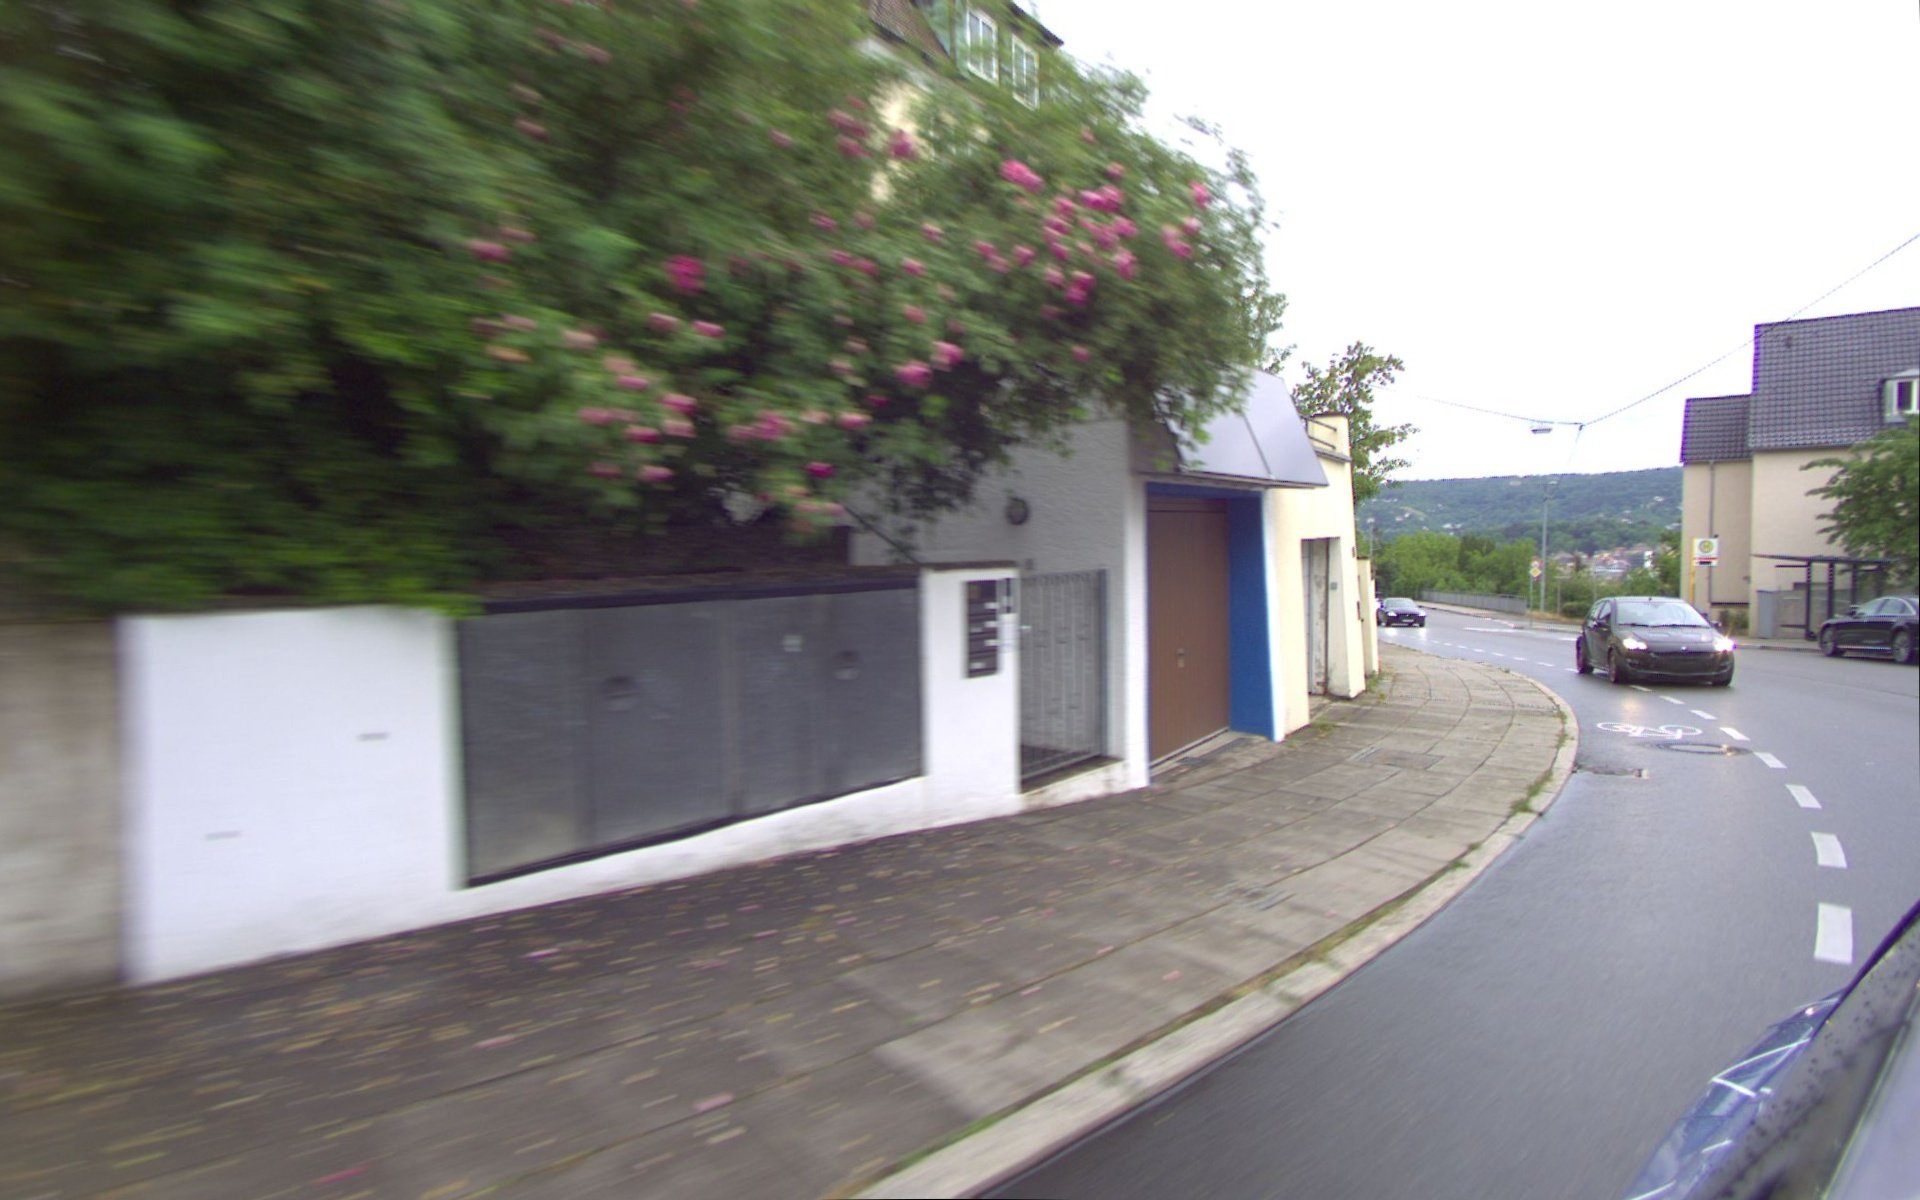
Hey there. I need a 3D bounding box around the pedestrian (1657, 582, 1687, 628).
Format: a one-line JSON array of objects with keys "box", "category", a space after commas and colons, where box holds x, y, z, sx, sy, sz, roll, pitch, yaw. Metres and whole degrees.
[{"box": [29.681, 0.196, 42.175, 0.778, 1.880, 0.724, -2, 0, 16], "category": "pedestrian"}]

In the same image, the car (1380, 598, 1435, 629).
[{"box": [22.621, 0.658, 51.305, 1.740, 1.472, 4.383, 0, 1, 13], "category": "car"}]

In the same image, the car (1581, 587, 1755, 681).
[{"box": [12.247, 0.523, 17.751, 1.662, 1.430, 3.611, -2, 1, 22], "category": "car"}]

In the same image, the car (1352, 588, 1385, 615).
[{"box": [26.325, 0.080, 65.250, 1.868, 1.595, 4.560, -1, 1, 22], "category": "car"}]

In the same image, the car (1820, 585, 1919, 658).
[{"box": [21.527, 0.444, 22.483, 1.809, 1.504, 4.965, 0, 1, 17], "category": "car"}]
